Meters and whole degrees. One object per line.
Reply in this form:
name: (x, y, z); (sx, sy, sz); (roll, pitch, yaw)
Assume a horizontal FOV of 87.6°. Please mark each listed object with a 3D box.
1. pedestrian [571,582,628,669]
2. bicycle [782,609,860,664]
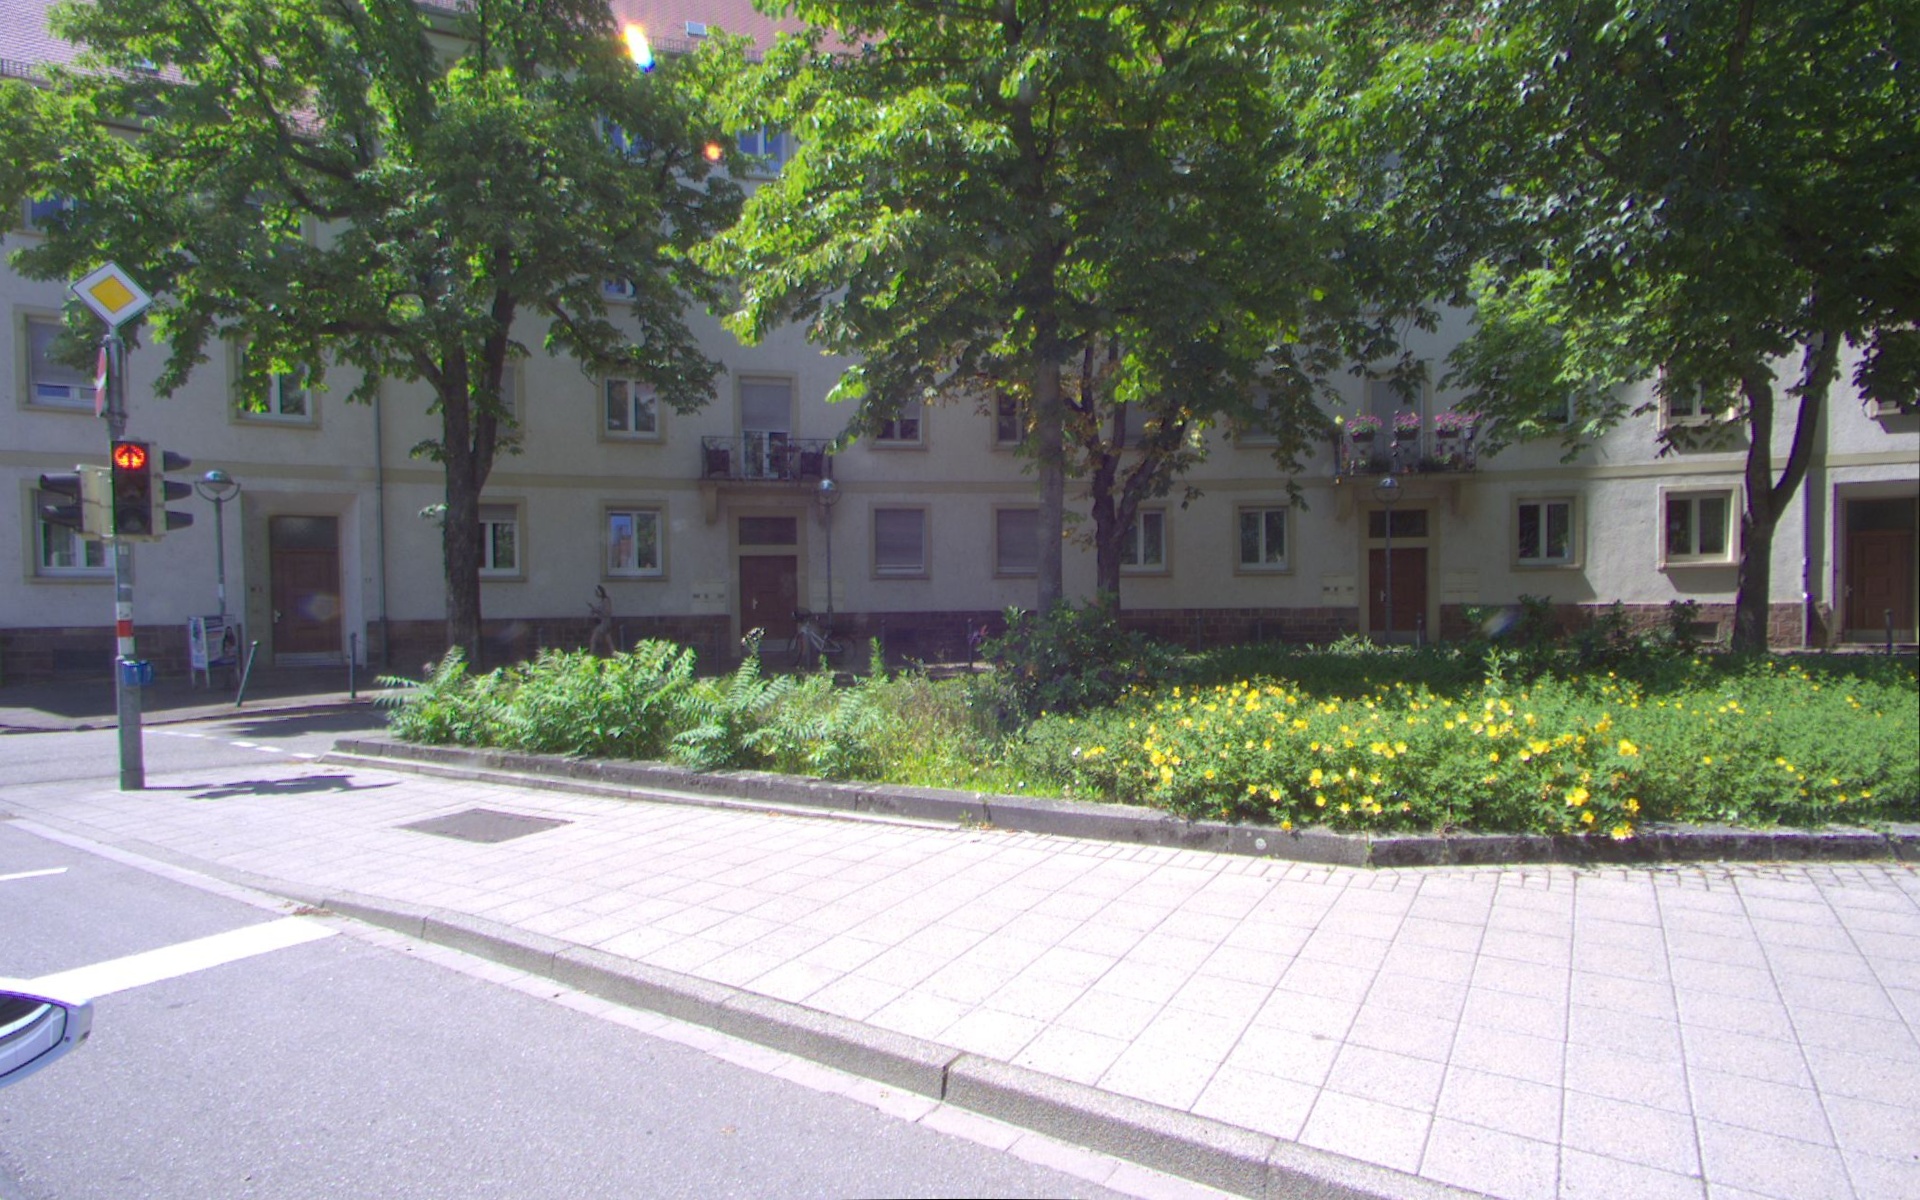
pedestrian: (-7.664, 0.526, 21.272); (1.039, 1.715, 0.650); (-3, 7, -21)
bicycle: (-2.886, 0.757, 20.871); (1.575, 1.119, 0.525); (-1, 1, -4)
